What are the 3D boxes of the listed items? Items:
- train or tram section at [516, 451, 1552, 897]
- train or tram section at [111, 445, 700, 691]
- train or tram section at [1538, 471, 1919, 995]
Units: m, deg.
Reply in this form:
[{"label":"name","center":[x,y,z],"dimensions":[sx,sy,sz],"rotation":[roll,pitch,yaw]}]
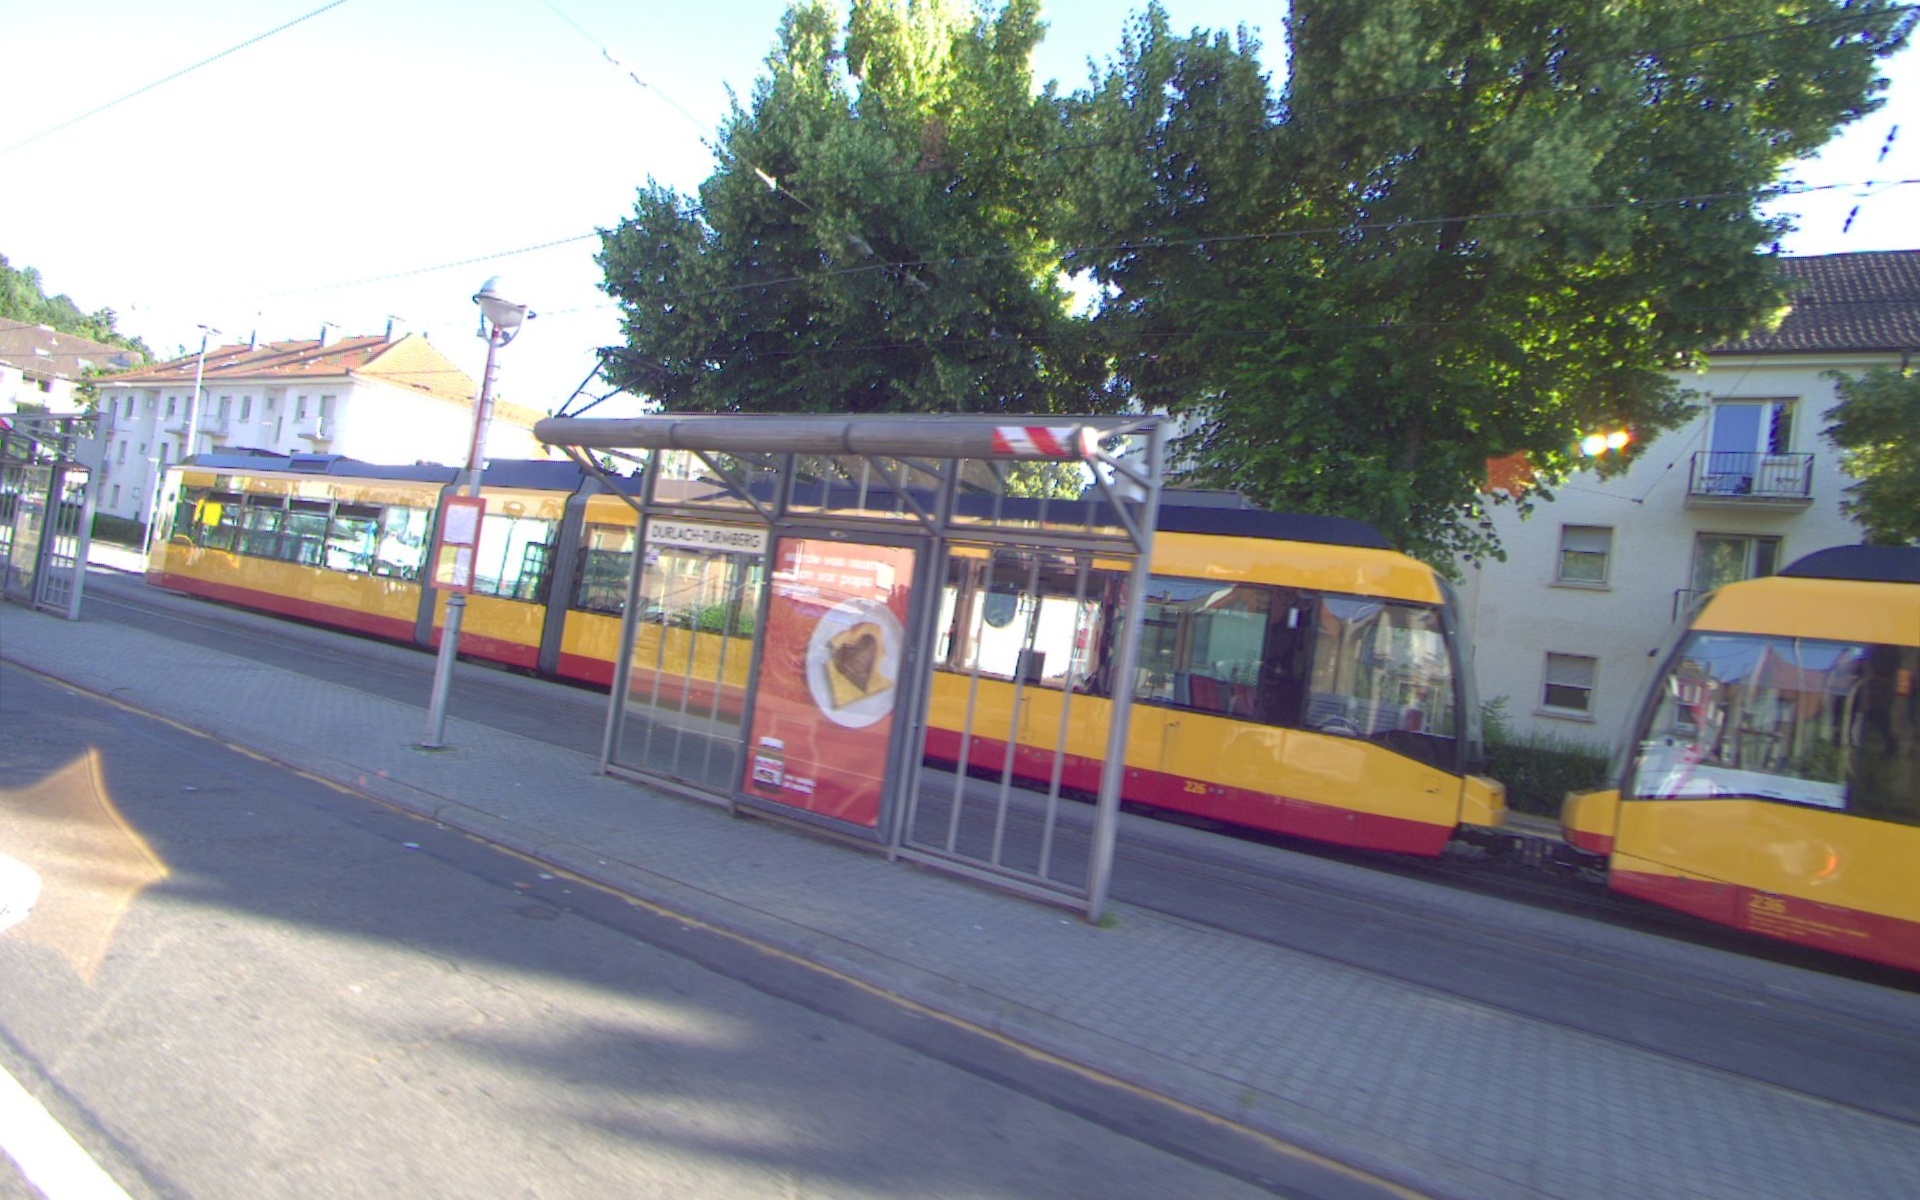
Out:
[{"label":"train or tram section","center":[-0.173,0.235,13.050],"dimensions":[13.242,3.575,2.963],"rotation":[6,-2,32]},{"label":"train or tram section","center":[-12.179,-1.014,20.573],"dimensions":[15.706,3.575,2.963],"rotation":[6,-2,32]},{"label":"train or tram section","center":[12.199,1.703,5.188],"dimensions":[15.671,3.462,2.963],"rotation":[7,-1,31]}]
